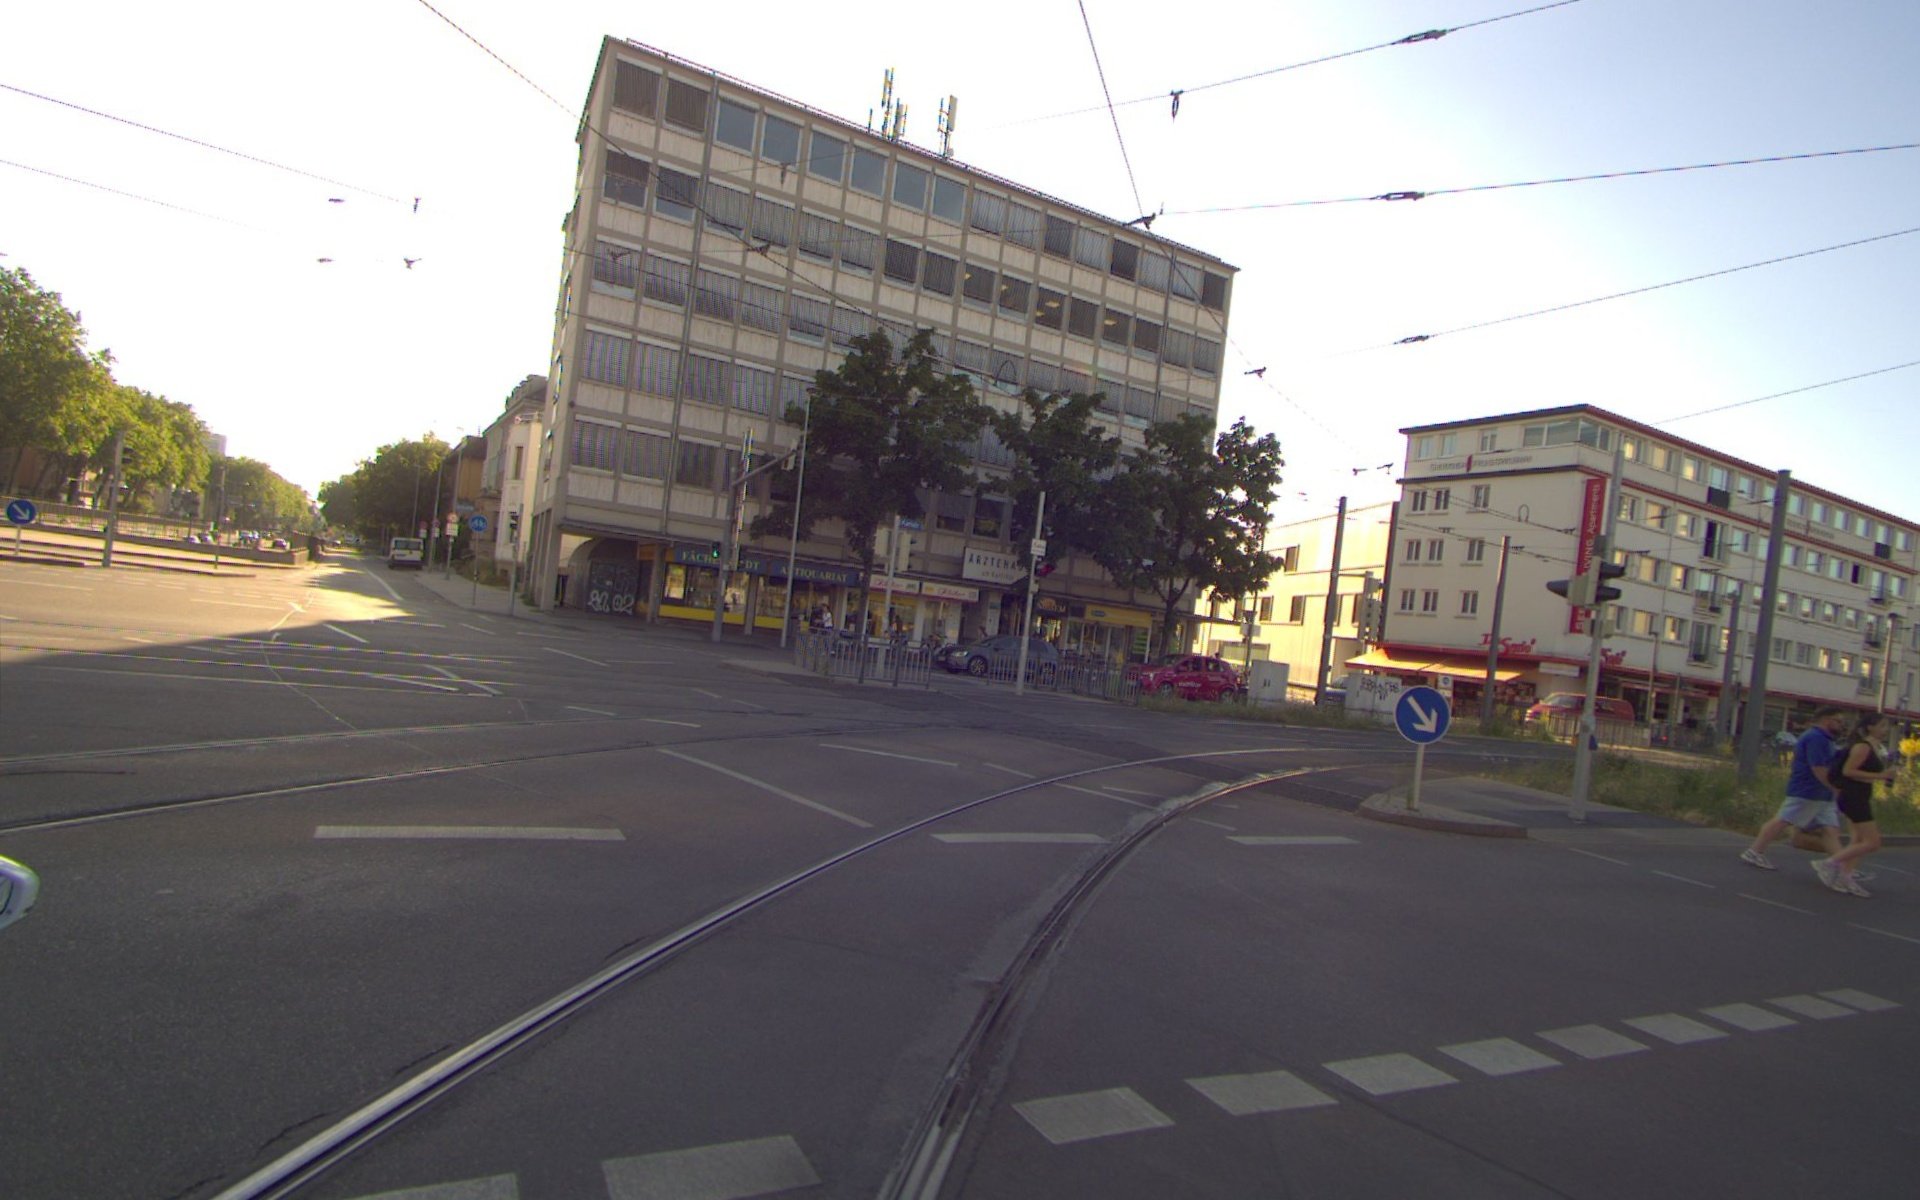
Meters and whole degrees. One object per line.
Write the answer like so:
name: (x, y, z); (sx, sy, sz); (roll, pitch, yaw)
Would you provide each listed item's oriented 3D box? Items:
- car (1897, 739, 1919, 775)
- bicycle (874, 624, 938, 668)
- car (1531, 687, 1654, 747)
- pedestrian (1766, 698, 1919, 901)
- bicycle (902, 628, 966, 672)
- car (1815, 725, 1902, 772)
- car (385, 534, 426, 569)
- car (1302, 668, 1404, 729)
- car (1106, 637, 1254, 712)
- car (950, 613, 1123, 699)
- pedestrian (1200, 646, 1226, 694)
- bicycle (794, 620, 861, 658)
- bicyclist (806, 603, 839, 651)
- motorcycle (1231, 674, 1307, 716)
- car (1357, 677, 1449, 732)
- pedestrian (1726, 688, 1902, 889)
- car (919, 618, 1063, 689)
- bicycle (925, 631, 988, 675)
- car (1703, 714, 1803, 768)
car: (60.139, 9.907, 61.890); (4.817, 2.036, 1.987); (9, -2, -27)
bicycle: (-1.926, 1.611, 35.656); (0.746, 1.157, 2.611); (9, 1, -38)
car: (27.061, 5.006, 43.048); (4.563, 1.863, 1.897); (9, -2, -19)
pedestrian: (8.517, 1.853, 9.539); (1.022, 1.702, 0.698); (8, -1, 20)
bicycle: (-0.971, 1.787, 36.345); (0.746, 1.157, 2.611); (9, 1, -38)
car: (52.225, 8.609, 58.468); (4.817, 2.036, 1.987); (9, -2, -27)
car: (-41.083, -3.589, 74.485); (2.270, 2.197, 4.796); (9, -2, -31)
car: (13.613, 3.420, 34.727); (1.819, 1.636, 3.983); (7, -3, 43)
car: (6.605, 2.232, 30.125); (3.957, 1.636, 1.831); (9, -2, -28)
car: (1.994, 1.453, 26.059); (3.957, 1.636, 1.831); (9, -2, -28)
pedestrian: (11.407, 3.155, 45.378); (0.620, 2.037, 0.711); (8, -1, -24)
bicycle: (-4.310, 1.275, 32.809); (2.013, 0.951, 0.665); (10, -2, -34)
bicyclist: (-4.460, 0.885, 32.691); (0.675, 1.440, 0.665); (9, -1, -34)
motorcycle: (9.929, 3.059, 32.246); (2.642, 1.012, 0.531); (9, -2, -28)
car: (17.069, 4.054, 38.687); (1.820, 1.636, 3.980); (7, -3, 45)
pedestrian: (8.722, 1.882, 10.323); (1.022, 1.814, 0.698); (8, -1, 20)
car: (0.999, 1.707, 31.977); (4.037, 1.636, 1.831); (9, -2, -28)
bicycle: (-0.150, 1.932, 36.954); (0.746, 1.157, 2.611); (9, 1, -38)
car: (40.383, 7.187, 51.207); (4.817, 2.036, 1.987); (9, -2, -27)
